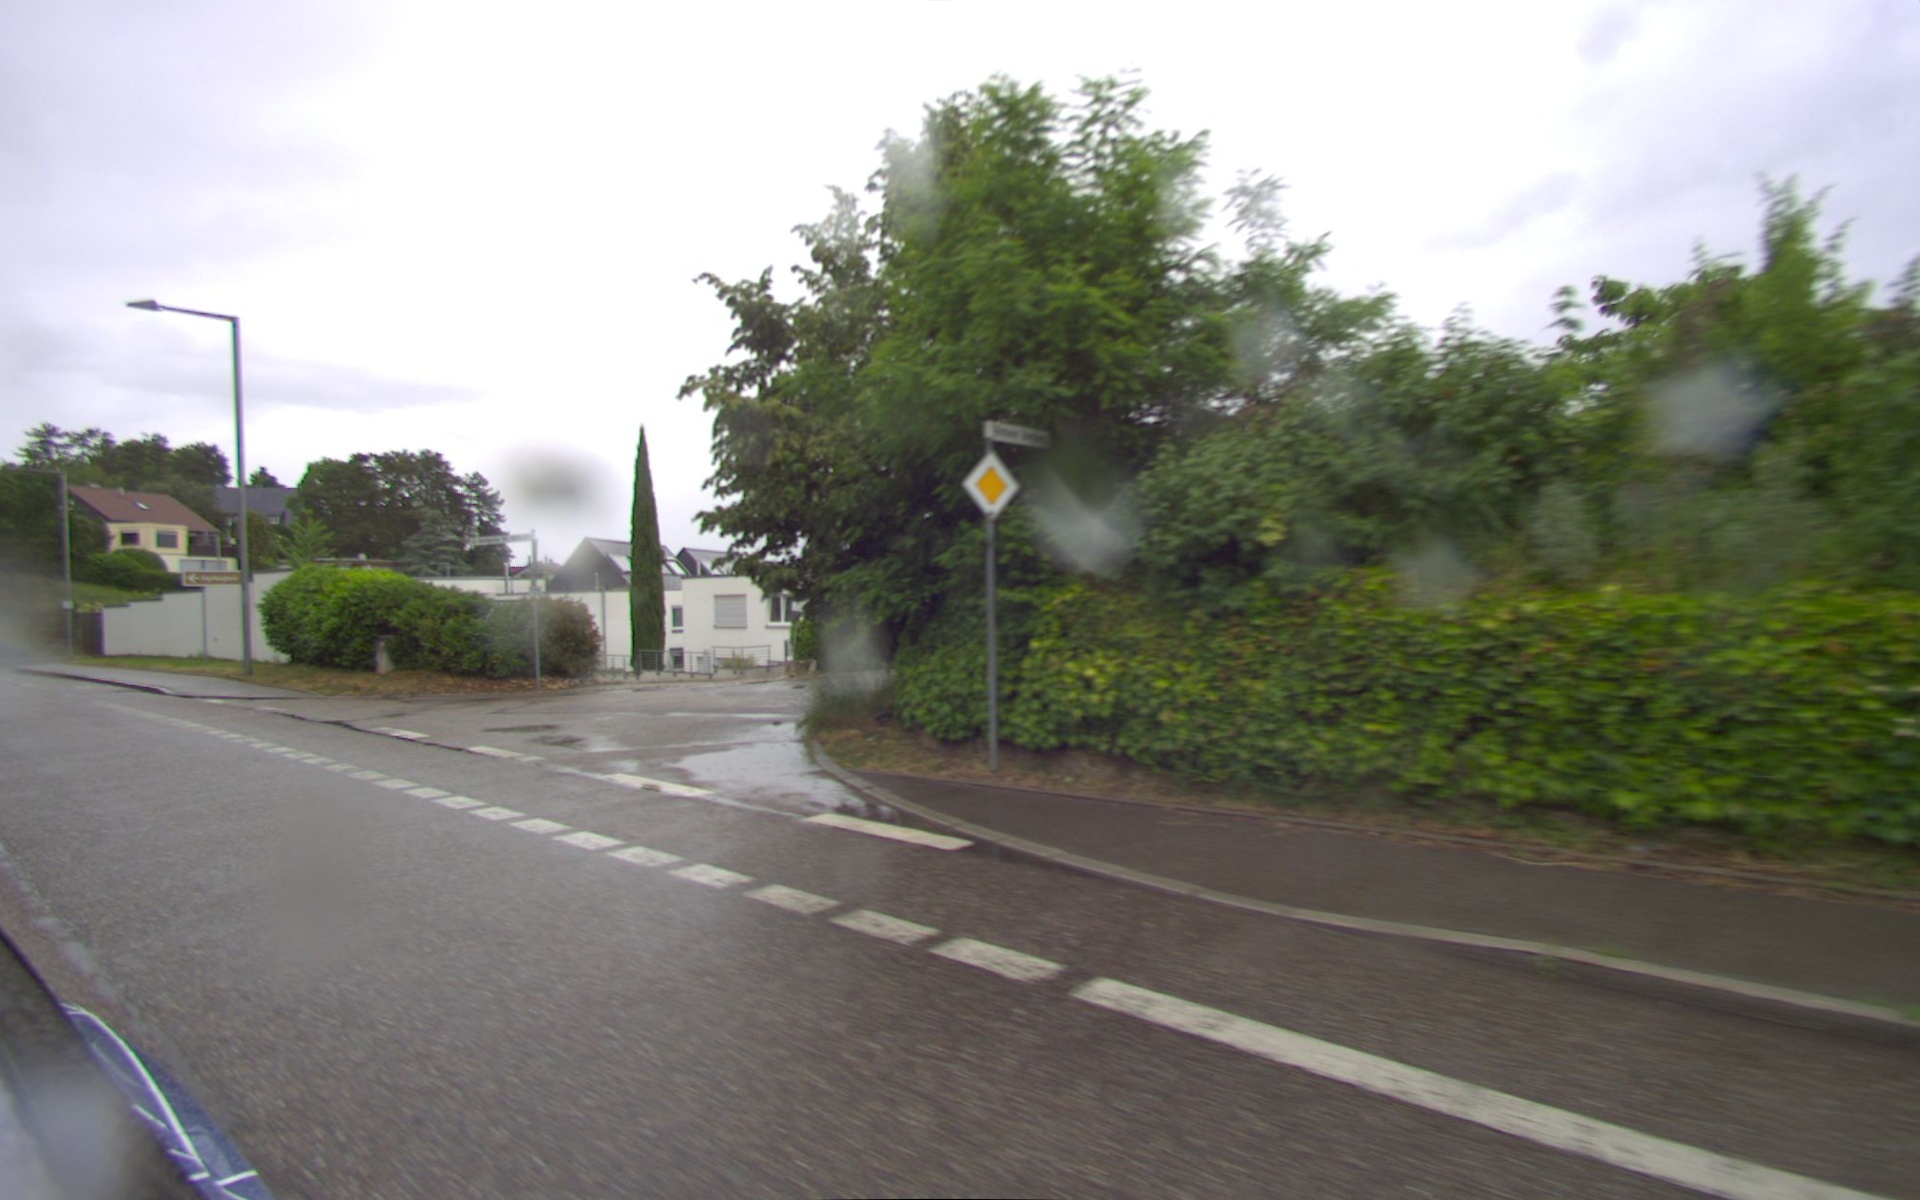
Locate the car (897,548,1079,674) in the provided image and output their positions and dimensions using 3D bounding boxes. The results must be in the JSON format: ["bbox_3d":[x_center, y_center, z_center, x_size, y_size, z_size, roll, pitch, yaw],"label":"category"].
[{"bbox_3d":[1.083,0.534,28.852,2.806,2.903,7.470,-1,-6,21],"label":"car"}]

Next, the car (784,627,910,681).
[{"bbox_3d":[-3.166,1.588,29.198,1.862,1.439,3.967,-2,-4,24],"label":"car"}]
